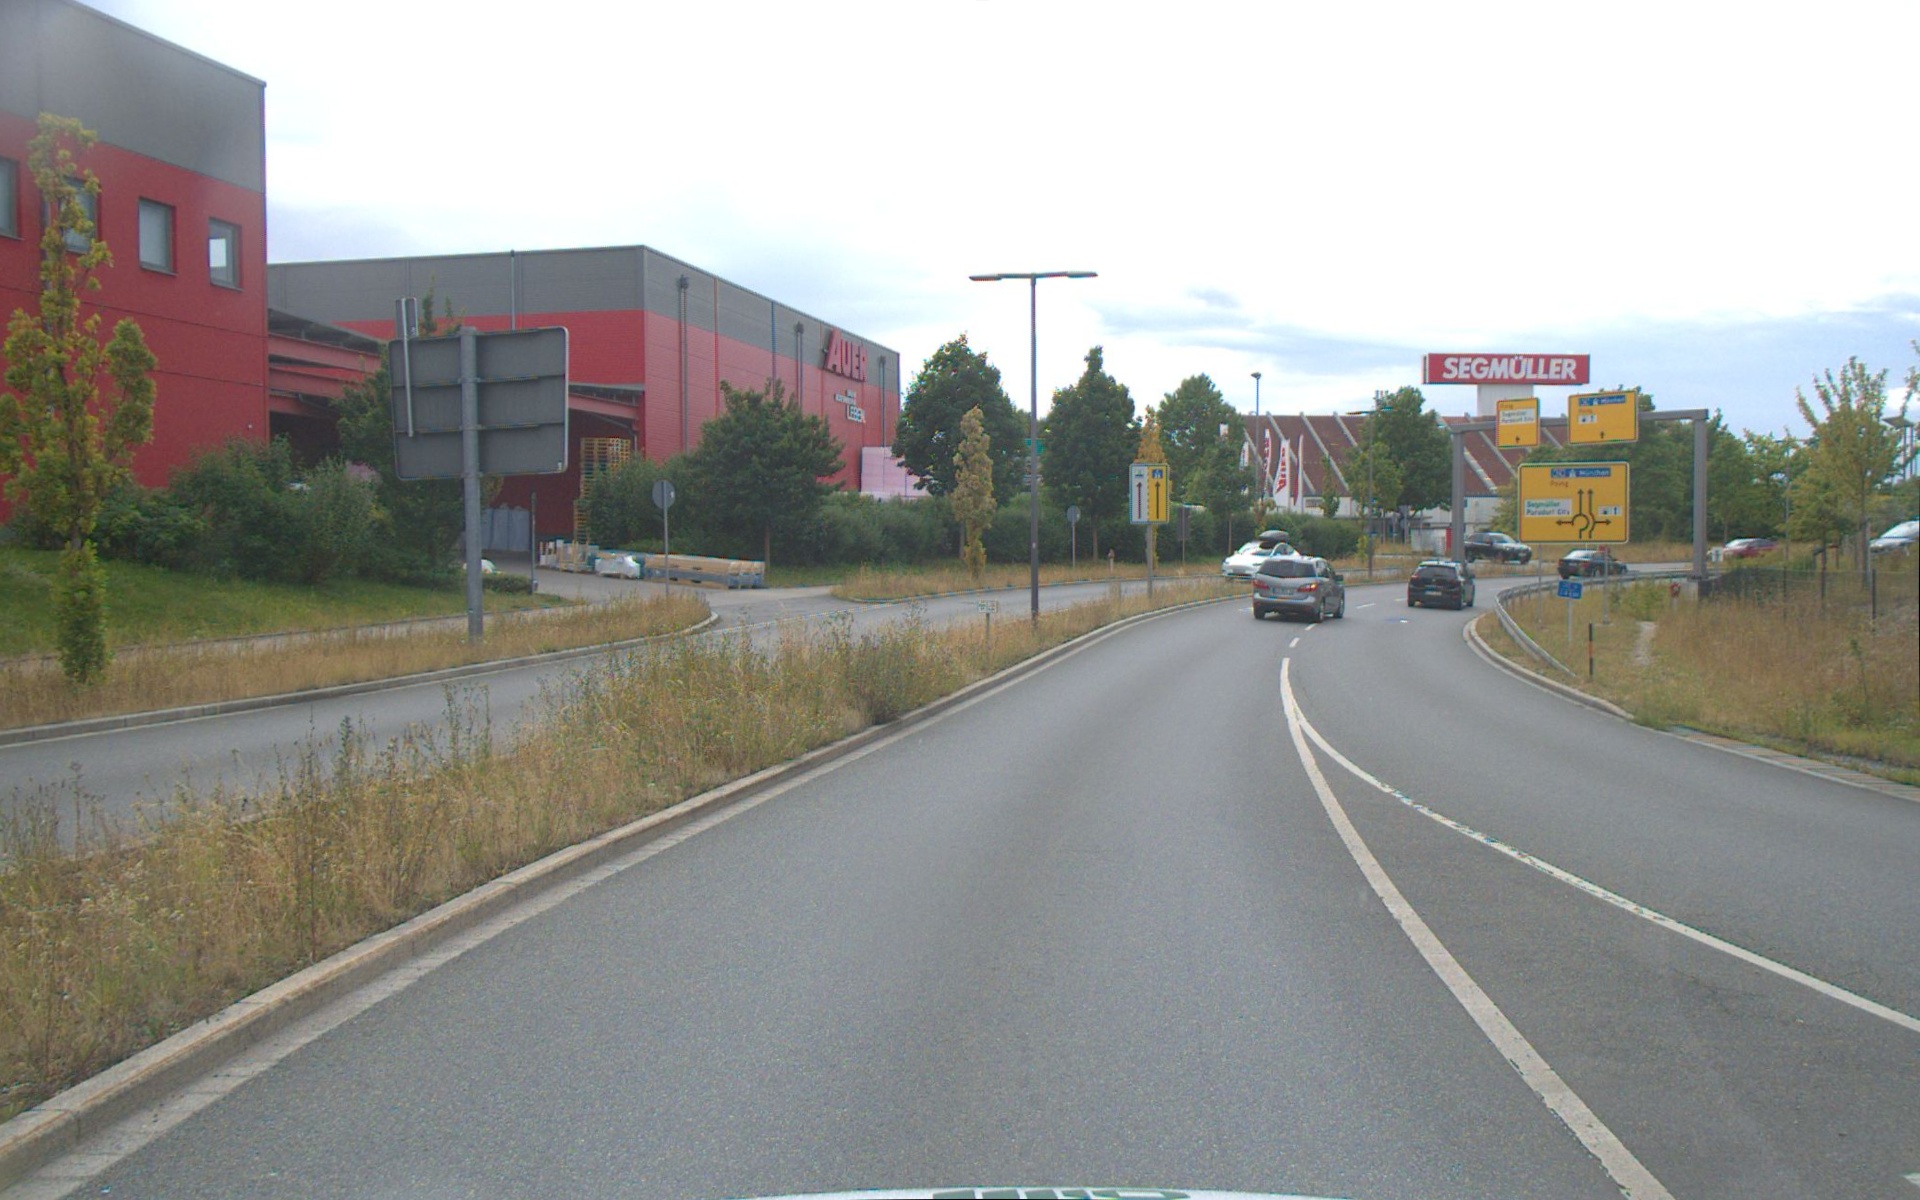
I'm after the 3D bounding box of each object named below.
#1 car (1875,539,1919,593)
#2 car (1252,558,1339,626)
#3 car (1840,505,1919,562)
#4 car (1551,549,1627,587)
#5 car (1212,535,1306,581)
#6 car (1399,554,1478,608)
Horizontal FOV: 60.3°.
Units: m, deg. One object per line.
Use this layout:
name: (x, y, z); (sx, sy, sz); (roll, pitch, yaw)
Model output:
car: (32.475, -1.079, 54.651); (3.784, 1.681, 1.726); (1, 3, -17)
car: (8.708, -0.226, 42.688); (1.730, 1.645, 3.923); (1, 1, 18)
car: (32.536, -2.254, 56.672); (4.091, 1.812, 1.796); (1, 3, -18)
car: (28.783, -1.445, 75.639); (1.879, 1.646, 3.974); (1, 1, 43)
car: (12.111, -1.702, 66.788); (1.878, 1.654, 4.620); (5, 4, 36)
car: (15.311, -0.619, 52.812); (1.832, 1.633, 3.732); (1, 1, 26)
